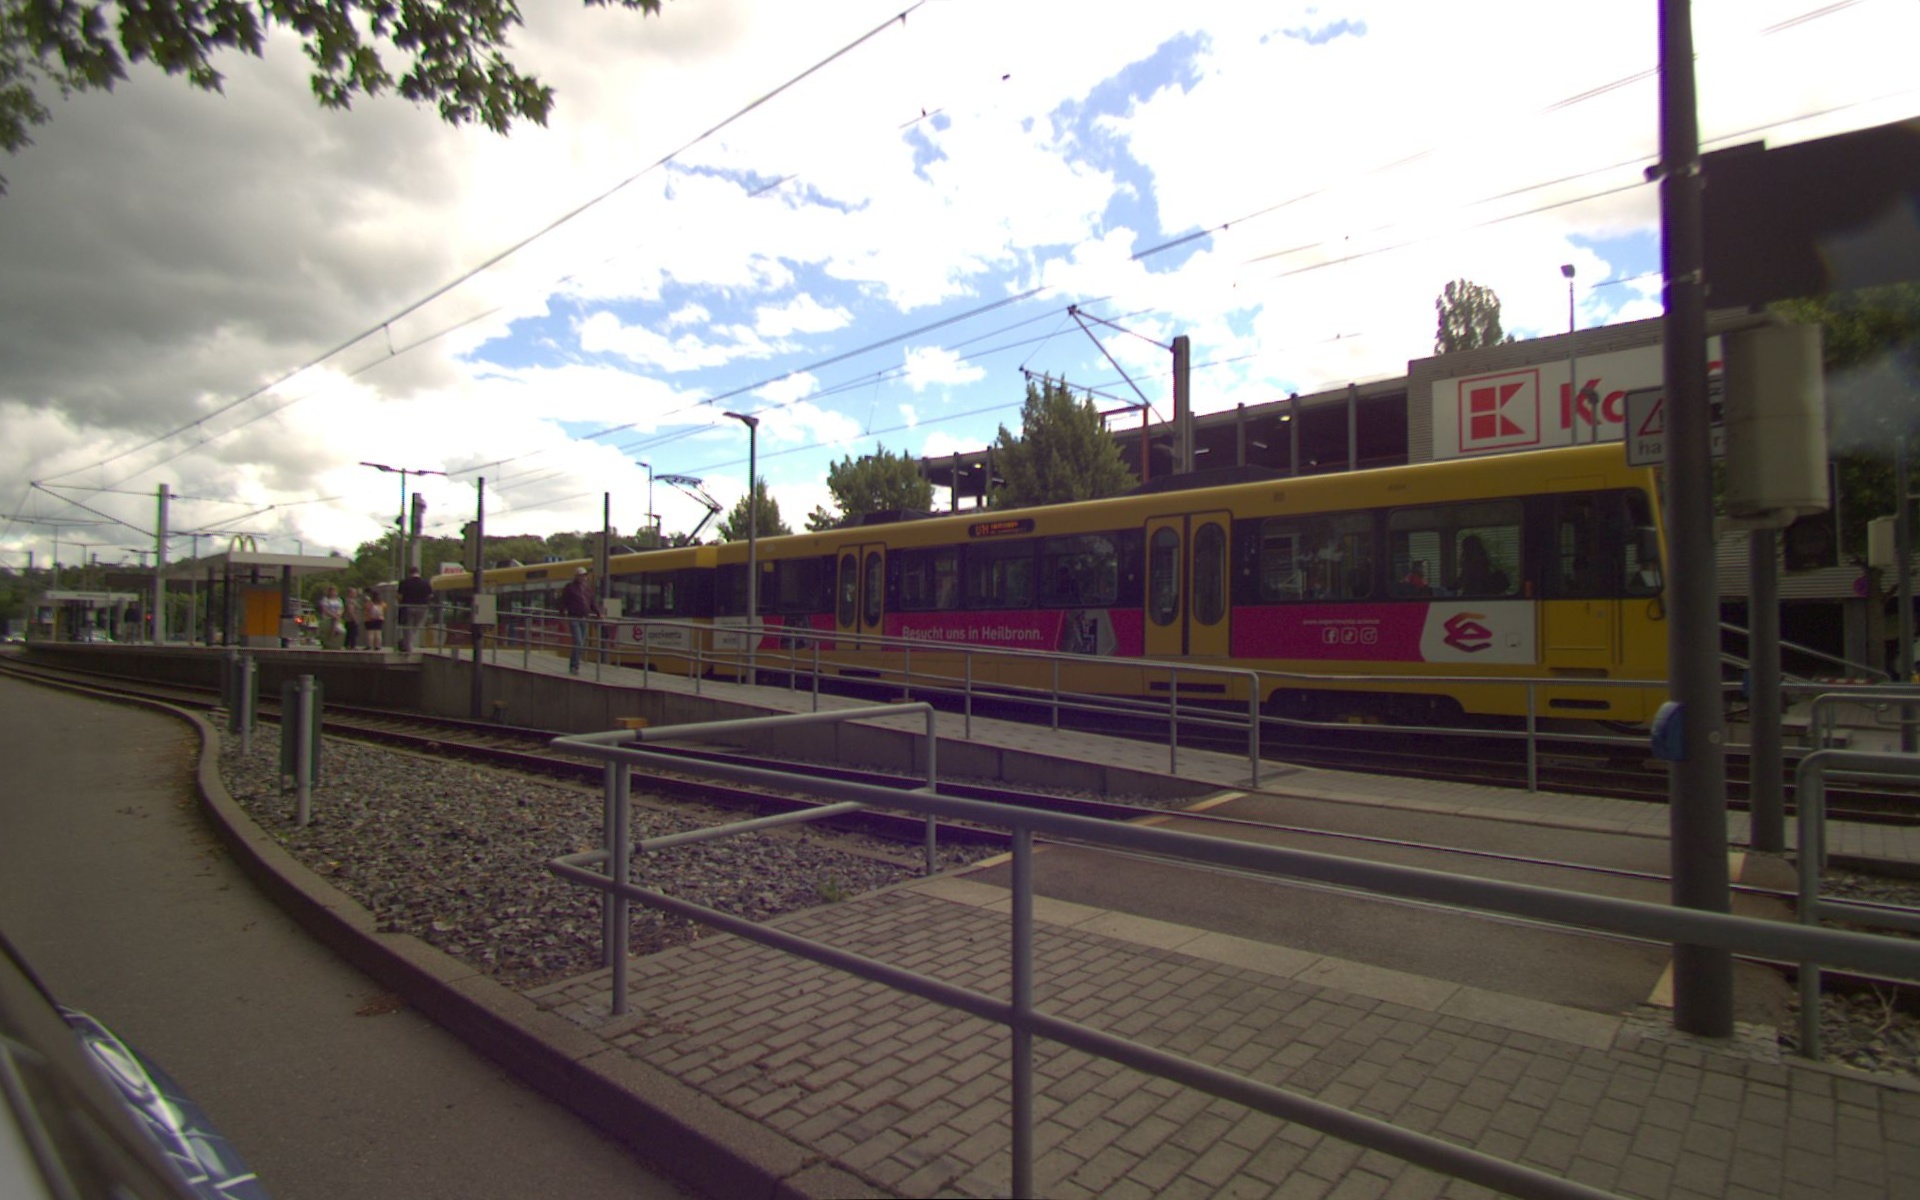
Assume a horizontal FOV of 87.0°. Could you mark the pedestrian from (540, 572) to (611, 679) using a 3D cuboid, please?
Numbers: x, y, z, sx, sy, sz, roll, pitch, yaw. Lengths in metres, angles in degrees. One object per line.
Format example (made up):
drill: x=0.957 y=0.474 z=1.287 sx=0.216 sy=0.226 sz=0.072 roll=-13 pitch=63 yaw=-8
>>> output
pedestrian: x=-6.295 y=0.430 z=16.577 sx=0.790 sy=1.691 sz=0.763 roll=-2 pitch=-5 yaw=42

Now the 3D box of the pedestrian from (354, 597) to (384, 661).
pedestrian: x=-14.038 y=0.689 z=24.041 sx=0.469 sy=1.495 sz=0.543 roll=4 pitch=-5 yaw=-40

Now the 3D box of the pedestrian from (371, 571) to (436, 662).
pedestrian: x=-10.670 y=0.326 z=19.424 sx=0.734 sy=1.691 sz=0.877 roll=1 pitch=-4 yaw=-4

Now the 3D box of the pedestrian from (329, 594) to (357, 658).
pedestrian: x=-14.498 y=0.611 z=23.773 sx=0.639 sy=1.476 sz=0.357 roll=-2 pitch=-4 yaw=41

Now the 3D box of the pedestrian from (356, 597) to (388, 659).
pedestrian: x=-13.714 y=0.666 z=23.612 sx=0.411 sy=1.416 sz=0.474 roll=-2 pitch=-5 yaw=41

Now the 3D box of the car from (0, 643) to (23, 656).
car: x=-113.871 y=5.920 z=121.258 sx=1.937 sy=1.564 sz=4.007 roll=4 pitch=-5 yaw=-39

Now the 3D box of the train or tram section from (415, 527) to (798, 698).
train or tram section: x=-11.687 y=0.598 z=30.528 sx=18.633 sy=3.912 sz=2.726 roll=-2 pitch=-3 yaw=44

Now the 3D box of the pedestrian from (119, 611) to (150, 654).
pedestrian: x=-34.185 y=1.356 z=41.908 sx=0.936 sy=1.757 sz=0.741 roll=-2 pitch=-5 yaw=42

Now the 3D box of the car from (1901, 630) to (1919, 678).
car: x=28.690 y=1.480 z=27.788 sx=4.070 sy=1.334 sz=1.618 roll=-2 pitch=-3 yaw=41

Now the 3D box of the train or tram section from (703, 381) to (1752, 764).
train or tram section: x=1.793 y=0.033 z=17.615 sx=18.634 sy=3.858 sz=2.725 roll=-2 pitch=-3 yaw=44

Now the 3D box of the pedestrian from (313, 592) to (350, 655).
pedestrian: x=-15.098 y=0.569 z=24.321 sx=0.512 sy=1.494 sz=0.583 roll=2 pitch=-4 yaw=-10

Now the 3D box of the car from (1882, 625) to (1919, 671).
car: x=32.225 y=1.542 z=32.195 sx=4.196 sy=1.443 sz=1.821 roll=-2 pitch=-5 yaw=42

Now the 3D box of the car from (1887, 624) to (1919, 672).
car: x=30.539 y=1.429 z=30.178 sx=4.197 sy=1.443 sz=1.821 roll=-2 pitch=-3 yaw=42
